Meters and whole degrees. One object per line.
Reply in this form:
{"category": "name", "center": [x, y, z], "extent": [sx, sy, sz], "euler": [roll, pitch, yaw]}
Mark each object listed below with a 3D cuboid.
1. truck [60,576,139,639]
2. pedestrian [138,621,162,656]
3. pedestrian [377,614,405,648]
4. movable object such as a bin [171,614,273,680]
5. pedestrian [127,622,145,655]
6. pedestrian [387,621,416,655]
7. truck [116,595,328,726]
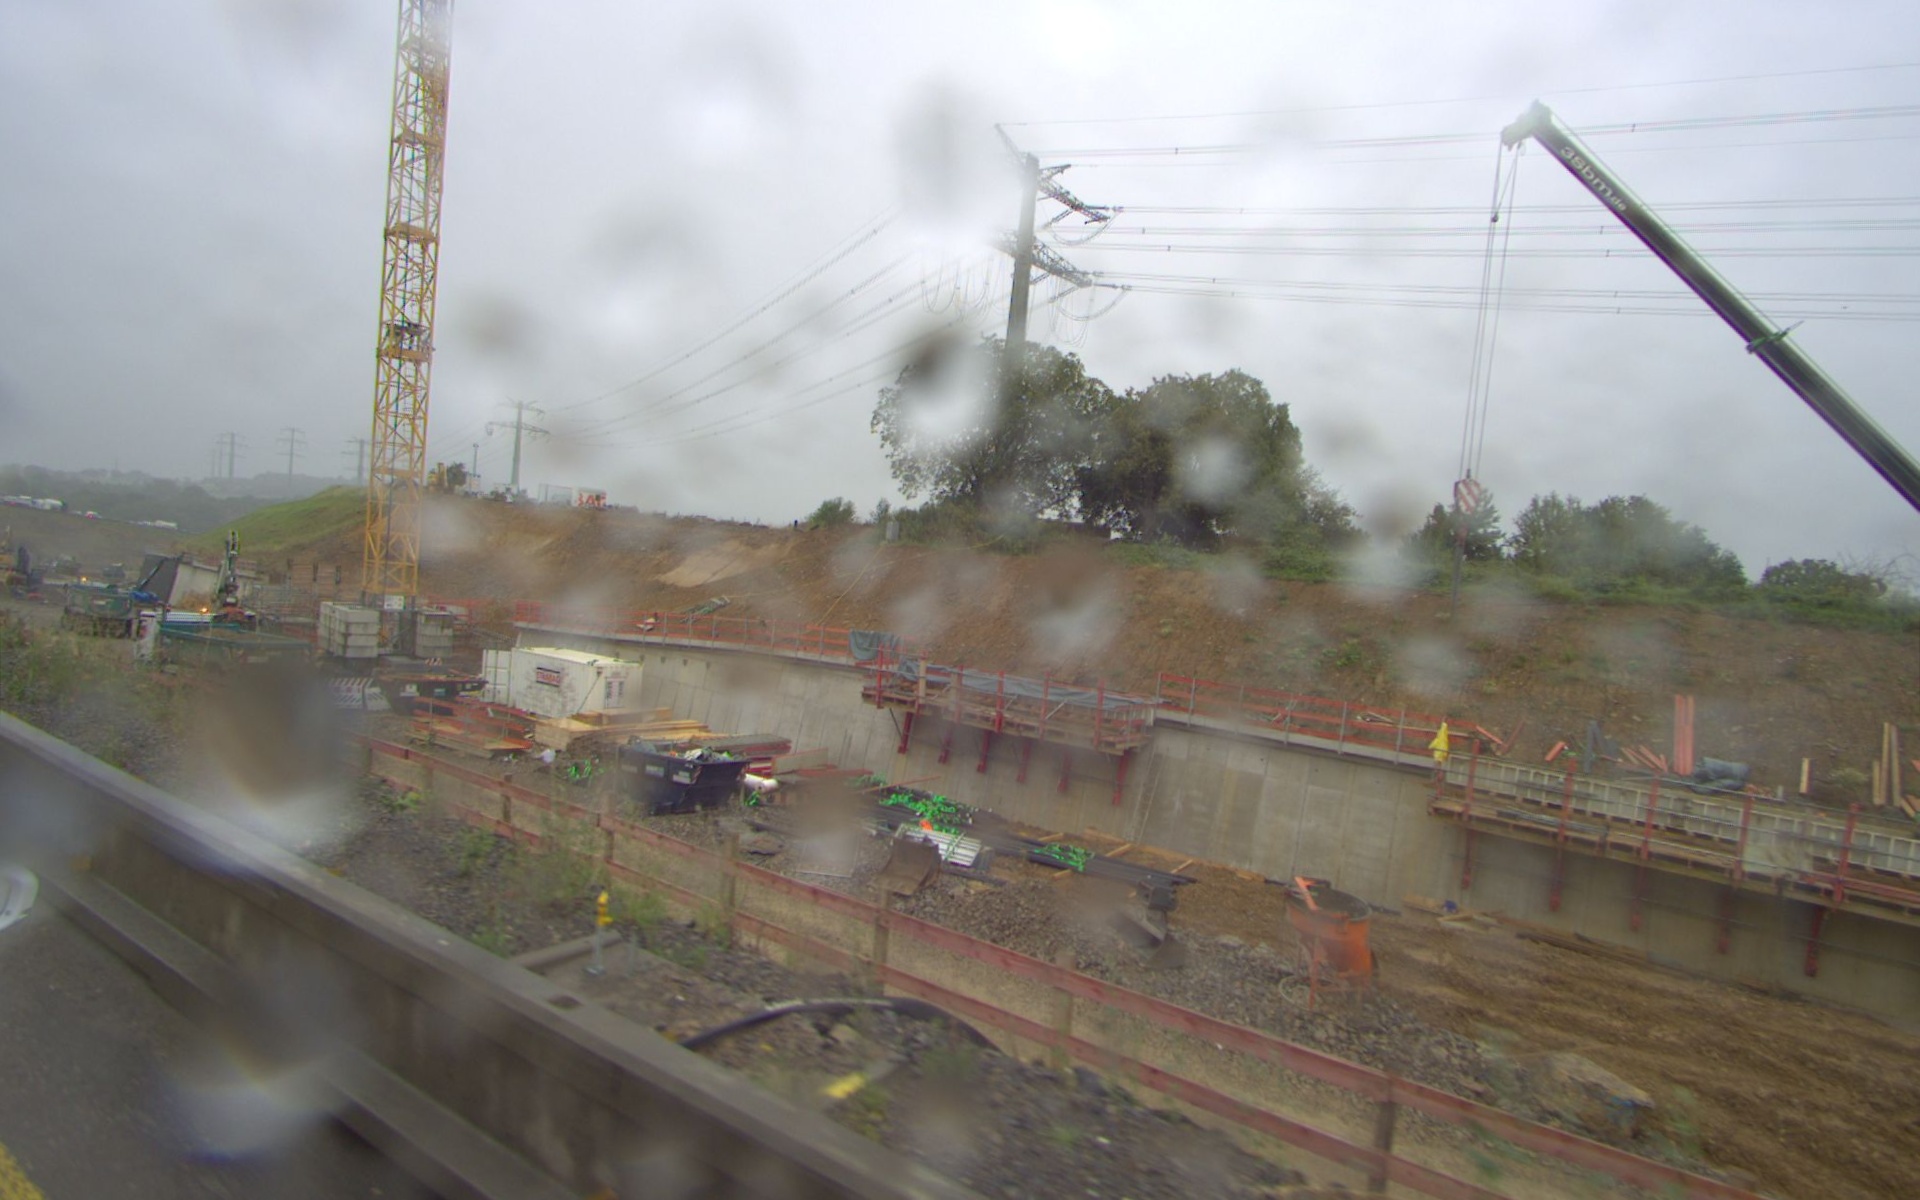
{"category": "truck", "center": [-60.595, 0.466, 70.758], "extent": [8.940, 3.531, 2.727], "euler": [5, -2, 42]}
{"category": "pedestrian", "center": [-48.454, 2.311, 60.182], "extent": [0.721, 1.967, 0.576], "euler": [7, -1, 9]}
{"category": "pedestrian", "center": [-37.729, 2.066, 66.721], "extent": [0.886, 2.013, 0.906], "euler": [5, -12, 41]}
{"category": "movable object such as a bin", "center": [-36.591, 2.349, 49.909], "extent": [2.923, 2.769, 3.151], "euler": [6, -2, 37]}
{"category": "pedestrian", "center": [-49.296, 2.304, 60.199], "extent": [0.725, 1.891, 0.572], "euler": [6, -1, 43]}
{"category": "pedestrian", "center": [-36.635, 2.486, 66.004], "extent": [0.886, 2.013, 0.906], "euler": [5, -12, 41]}
{"category": "truck", "center": [-26.746, 2.081, 36.296], "extent": [8.798, 3.544, 2.705], "euler": [6, -1, 31]}
